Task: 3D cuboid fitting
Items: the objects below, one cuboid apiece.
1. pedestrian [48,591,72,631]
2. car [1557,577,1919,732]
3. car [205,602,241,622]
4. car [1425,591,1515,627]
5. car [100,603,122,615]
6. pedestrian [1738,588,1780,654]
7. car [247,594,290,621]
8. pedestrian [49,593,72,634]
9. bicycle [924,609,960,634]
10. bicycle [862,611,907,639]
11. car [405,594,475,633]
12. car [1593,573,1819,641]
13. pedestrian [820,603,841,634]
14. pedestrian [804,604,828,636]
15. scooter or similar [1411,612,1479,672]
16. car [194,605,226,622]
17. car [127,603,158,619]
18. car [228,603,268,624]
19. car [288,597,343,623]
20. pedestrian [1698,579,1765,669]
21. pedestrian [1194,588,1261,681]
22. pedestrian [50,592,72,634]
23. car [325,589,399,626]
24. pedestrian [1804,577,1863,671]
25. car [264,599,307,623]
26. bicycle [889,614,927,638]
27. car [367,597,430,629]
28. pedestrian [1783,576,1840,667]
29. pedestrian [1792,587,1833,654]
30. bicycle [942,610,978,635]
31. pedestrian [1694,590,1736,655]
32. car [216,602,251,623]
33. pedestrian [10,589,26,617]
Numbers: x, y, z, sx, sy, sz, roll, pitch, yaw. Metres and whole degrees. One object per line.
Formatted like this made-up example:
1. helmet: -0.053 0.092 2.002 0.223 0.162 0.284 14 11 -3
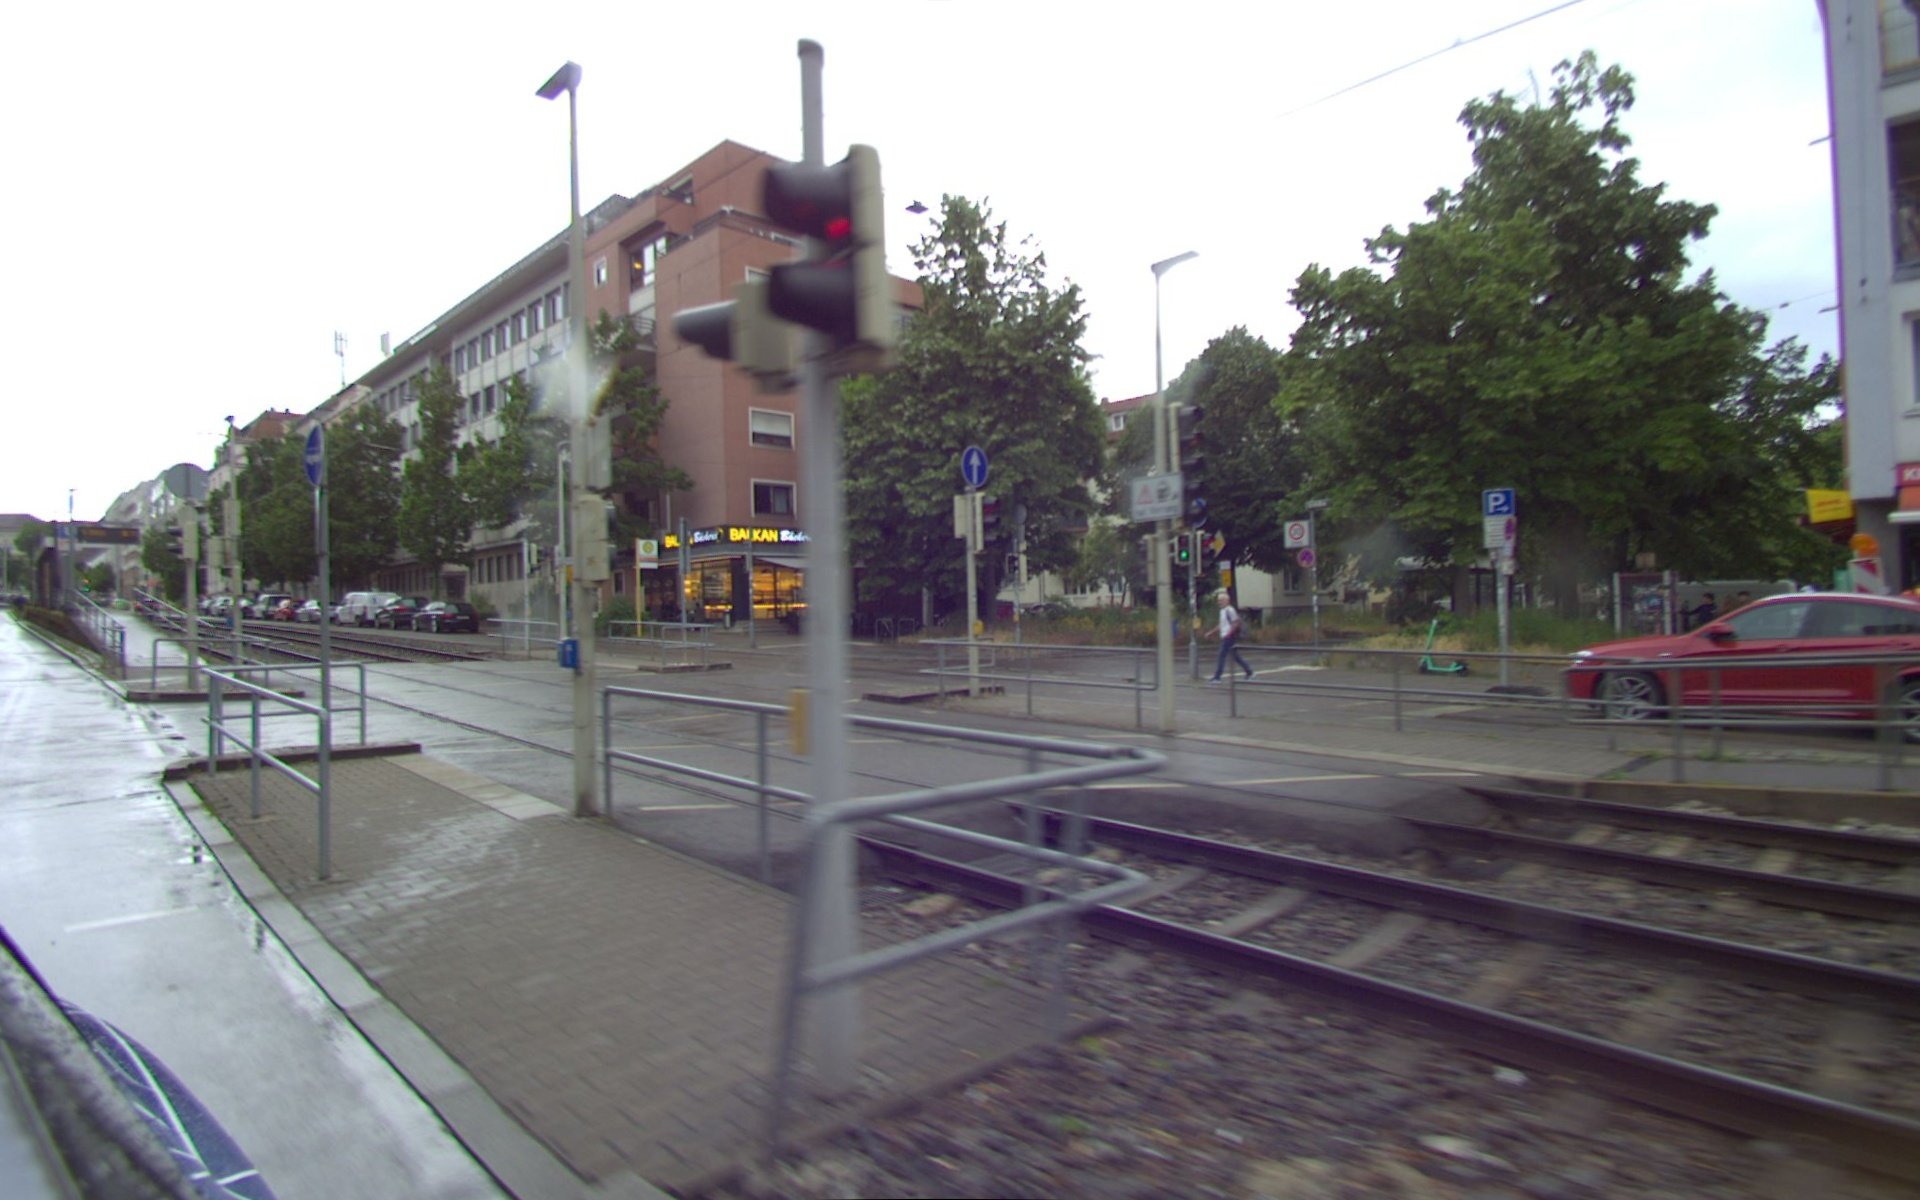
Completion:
1. pedestrian: -38.824 0.476 43.663 0.701 1.706 0.703 -1 -1 43
2. car: 9.879 0.603 11.958 1.705 1.624 4.557 1 -2 -43
3. car: -60.252 0.948 82.705 4.340 1.596 1.639 -1 -1 44
4. car: 33.240 0.600 66.054 4.865 2.226 1.881 -1 -1 44
5. car: -96.507 1.025 115.033 3.736 1.348 1.620 -1 -1 44
6. pedestrian: 17.533 0.452 22.210 0.651 1.416 0.553 -1 1 44
7. car: -48.186 0.522 70.510 4.434 1.831 1.655 -1 -1 44
8. pedestrian: -34.425 0.516 38.721 0.701 1.569 0.577 -1 -1 43
9. bicycle: -0.680 0.782 37.106 0.335 0.917 1.649 1 -1 -42
10. bicycle: -2.650 0.860 35.264 0.474 0.966 1.874 1 -1 -44
11. car: -23.422 0.593 45.497 1.619 1.636 4.374 0 -1 -44
12. car: 30.310 0.322 41.412 2.386 2.553 7.107 1 -1 -43
13. pedestrian: -5.046 0.708 39.412 0.602 1.187 0.675 -1 -1 13
14. pedestrian: -5.401 0.741 37.862 0.667 1.187 0.609 0 -1 -39
15. scooter or similar: 10.017 0.844 20.911 0.384 1.200 1.213 1 -1 -43
16. car: -64.397 1.134 86.850 1.693 1.386 4.462 0 -1 -43
17. car: -78.352 1.039 96.930 4.530 1.473 1.673 -1 -1 43
18. car: -52.284 0.972 74.279 4.732 1.451 1.620 -1 -1 44
19. car: -38.580 0.599 60.536 4.530 1.473 1.673 -1 -1 43
20. pedestrian: 14.527 0.451 19.061 0.869 1.644 0.808 0 -3 -44
21. pedestrian: 5.165 0.645 19.508 0.984 1.710 0.811 -1 1 37
22. pedestrian: -34.886 0.498 39.263 0.701 1.621 0.577 -1 -1 43
23. car: -32.063 0.398 54.205 5.256 1.858 1.887 -1 -1 42
24. pedestrian: 15.573 0.415 18.051 0.568 1.644 0.544 -1 0 9
25. car: -44.144 0.725 66.234 3.805 1.551 1.620 -1 -1 44
26. bicycle: -1.858 0.911 35.903 0.335 0.822 1.648 1 -1 -44
27. car: -27.713 0.632 49.897 1.619 1.548 4.374 0 -1 -44
28. pedestrian: 15.713 0.389 18.683 0.606 1.644 0.576 -1 0 20
29. pedestrian: 19.162 0.451 22.739 0.656 1.472 0.632 -1 1 44
30. bicycle: -0.013 0.819 37.753 0.335 0.910 1.649 1 -1 -42
31. pedestrian: 16.731 0.487 22.436 0.658 1.394 0.683 -1 1 44
32. car: -55.984 0.949 78.003 1.619 1.549 4.025 0 -1 -44
33. pedestrian: -59.917 0.197 64.376 0.882 1.775 0.645 -1 -1 42
